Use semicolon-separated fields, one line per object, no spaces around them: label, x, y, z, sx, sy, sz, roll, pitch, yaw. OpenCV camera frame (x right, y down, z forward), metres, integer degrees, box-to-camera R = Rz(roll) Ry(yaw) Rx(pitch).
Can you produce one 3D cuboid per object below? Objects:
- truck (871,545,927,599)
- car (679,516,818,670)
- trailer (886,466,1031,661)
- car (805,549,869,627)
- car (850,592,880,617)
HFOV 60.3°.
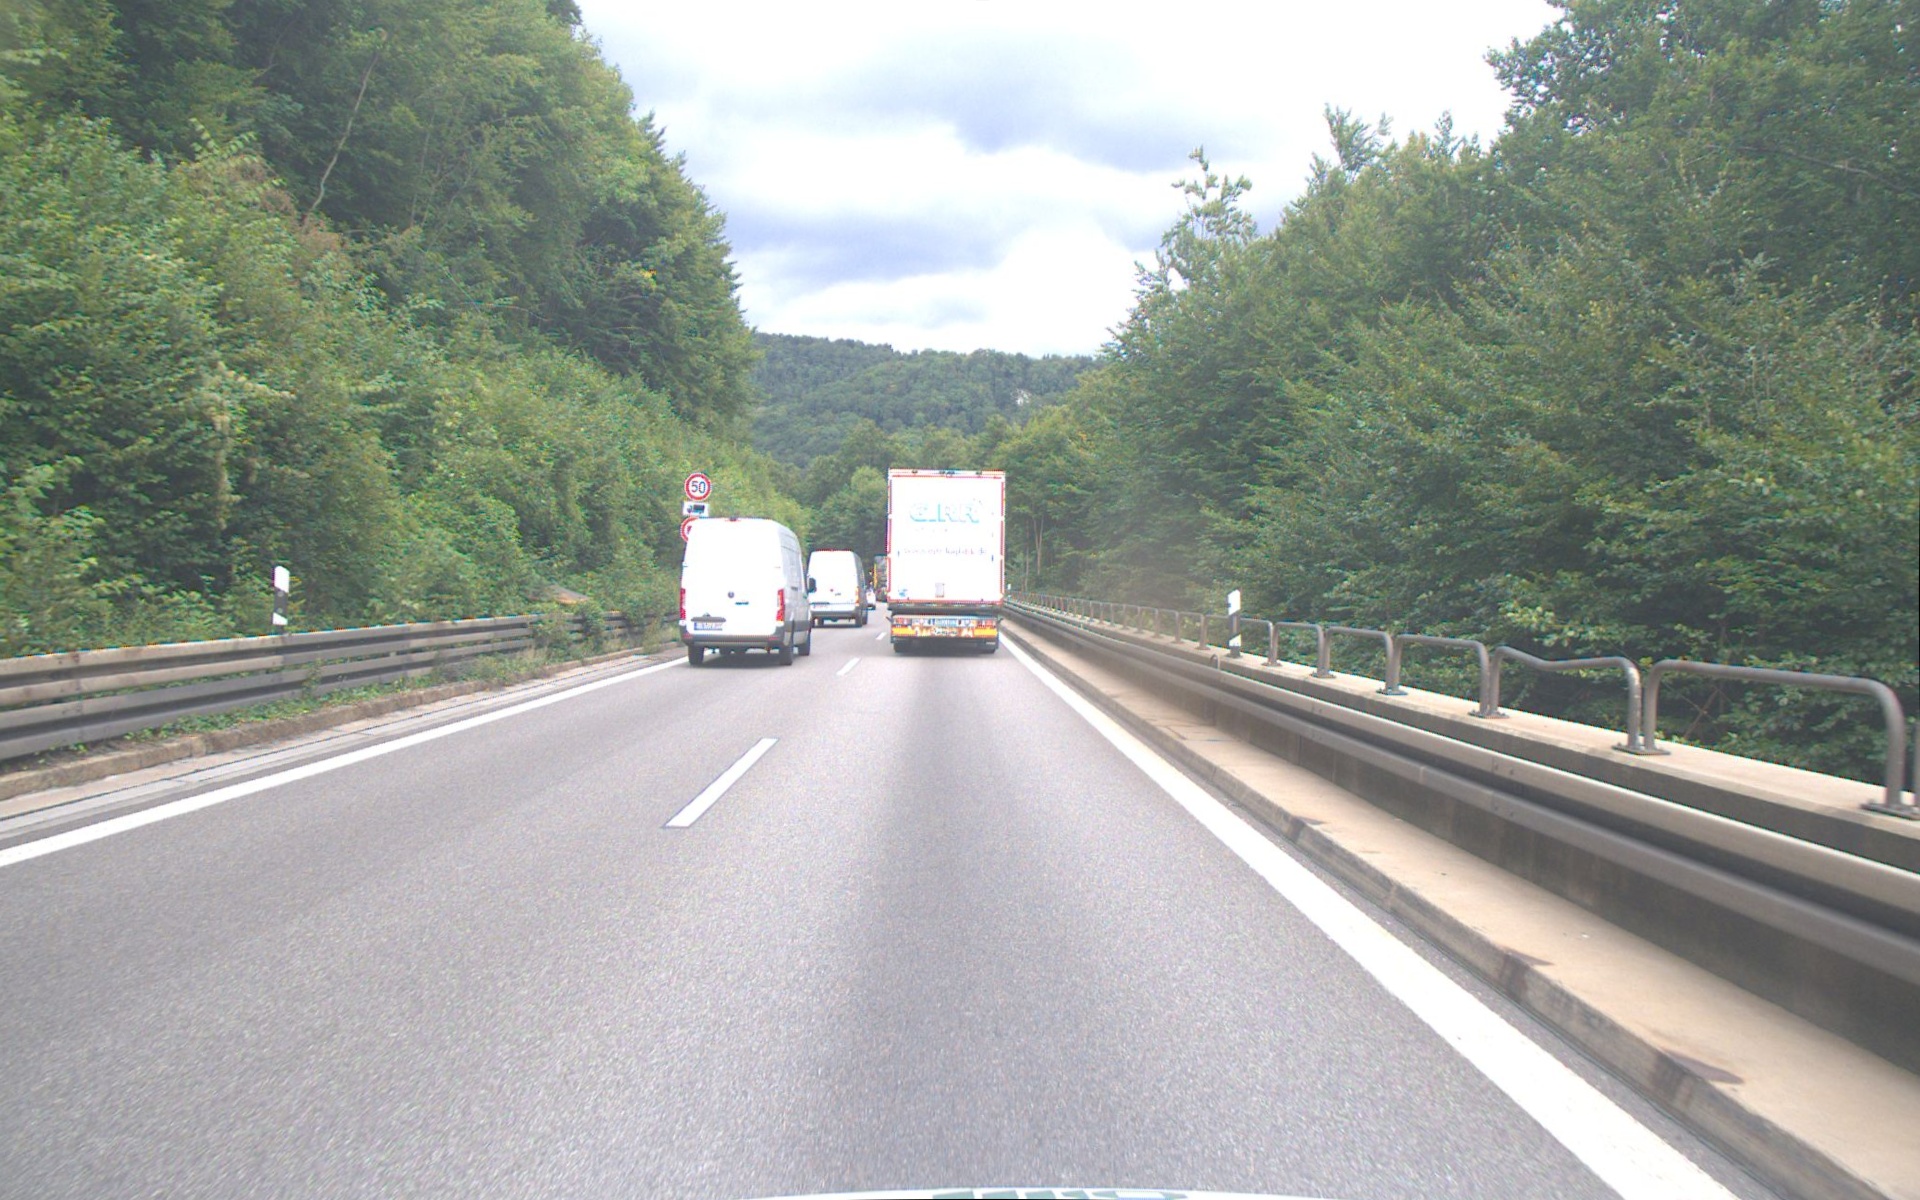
truck;-5.019;-2.183;133.735;3.000;4.056;13.672;1;0;-8
car;-4.057;-0.173;32.902;1.948;2.719;6.935;0;1;-1
trailer;-0.141;-0.979;41.124;2.995;4.055;12.136;1;2;-1
car;-4.446;-0.465;60.631;1.900;2.719;5.991;1;1;0
car;-5.834;0.278;101.729;1.697;1.446;3.999;1;1;-2
